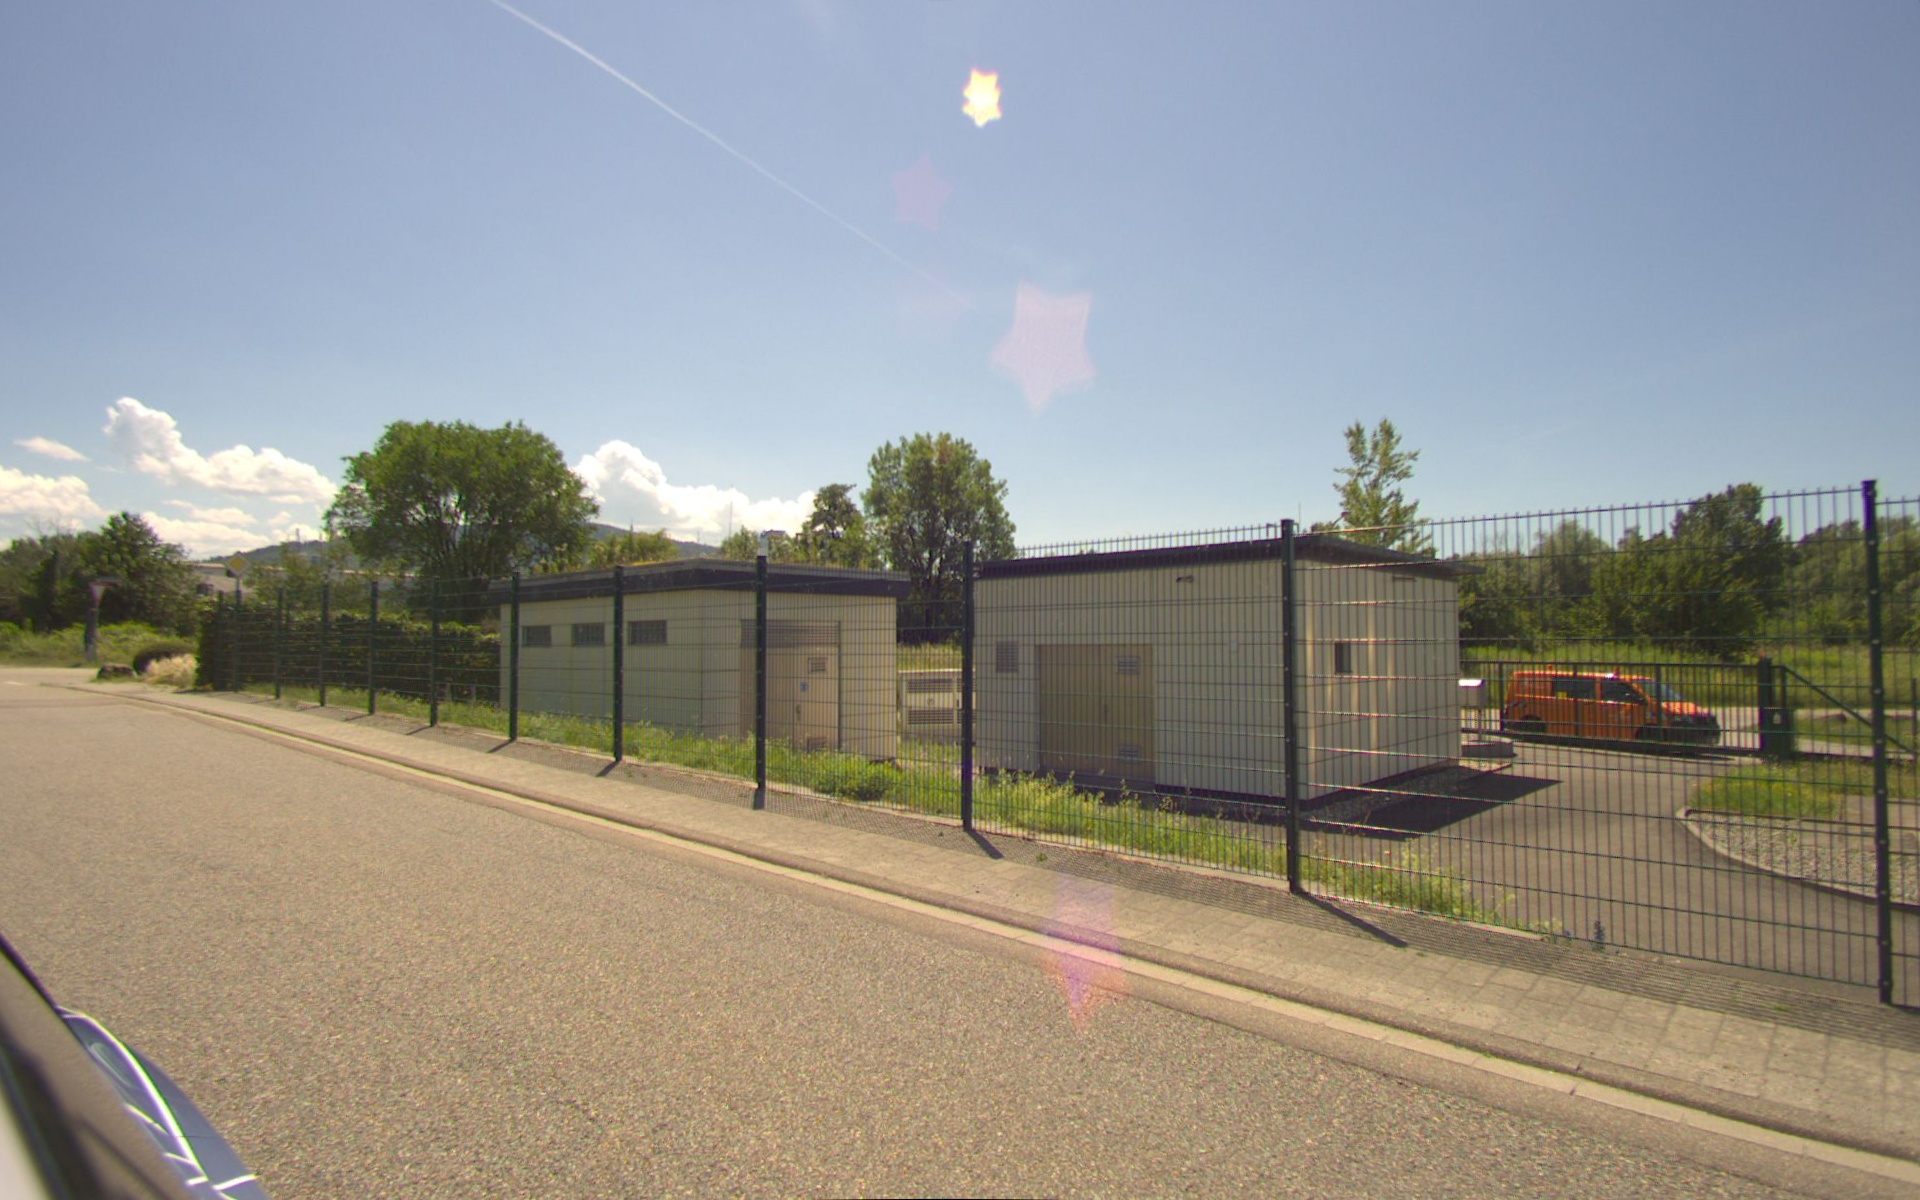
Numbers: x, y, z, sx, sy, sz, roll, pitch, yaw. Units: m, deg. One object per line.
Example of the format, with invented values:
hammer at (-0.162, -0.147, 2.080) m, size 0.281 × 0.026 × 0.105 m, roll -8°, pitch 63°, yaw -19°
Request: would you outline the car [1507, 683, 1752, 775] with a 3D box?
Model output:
car at (17.071, 3.238, 26.128) m, size 1.966 × 2.029 × 4.877 m, roll 4°, pitch -5°, yaw -30°
